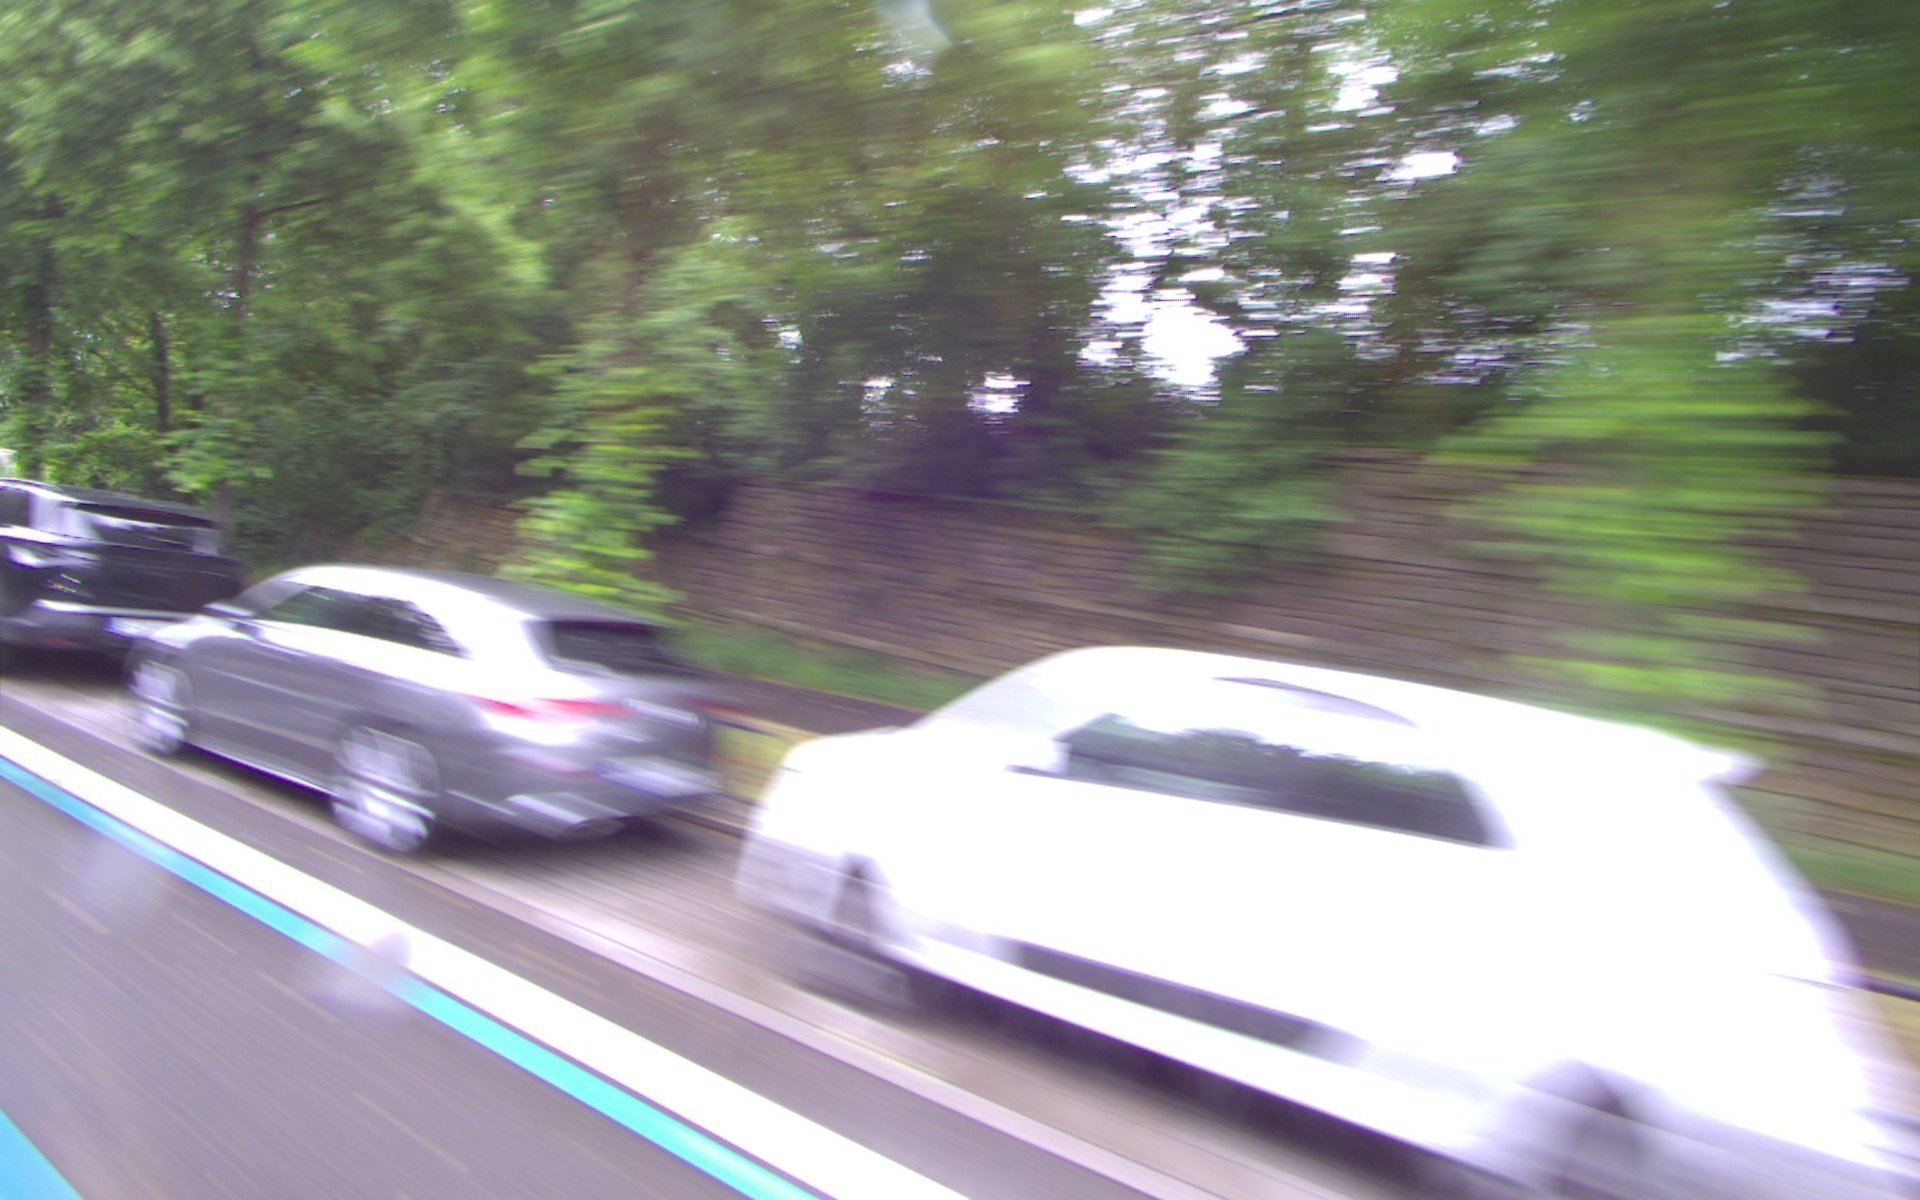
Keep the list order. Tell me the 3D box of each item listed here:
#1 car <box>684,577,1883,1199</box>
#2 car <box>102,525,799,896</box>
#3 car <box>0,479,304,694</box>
[{"bbox_3d":[0.910,0.940,4.012,3.679,1.553,1.665,7,-2,31],"label":"car"},{"bbox_3d":[-3.303,0.466,6.219,4.394,1.364,1.777,6,-2,33],"label":"car"},{"bbox_3d":[-8.640,-0.191,9.801,4.276,1.664,1.997,6,-1,31],"label":"car"}]
